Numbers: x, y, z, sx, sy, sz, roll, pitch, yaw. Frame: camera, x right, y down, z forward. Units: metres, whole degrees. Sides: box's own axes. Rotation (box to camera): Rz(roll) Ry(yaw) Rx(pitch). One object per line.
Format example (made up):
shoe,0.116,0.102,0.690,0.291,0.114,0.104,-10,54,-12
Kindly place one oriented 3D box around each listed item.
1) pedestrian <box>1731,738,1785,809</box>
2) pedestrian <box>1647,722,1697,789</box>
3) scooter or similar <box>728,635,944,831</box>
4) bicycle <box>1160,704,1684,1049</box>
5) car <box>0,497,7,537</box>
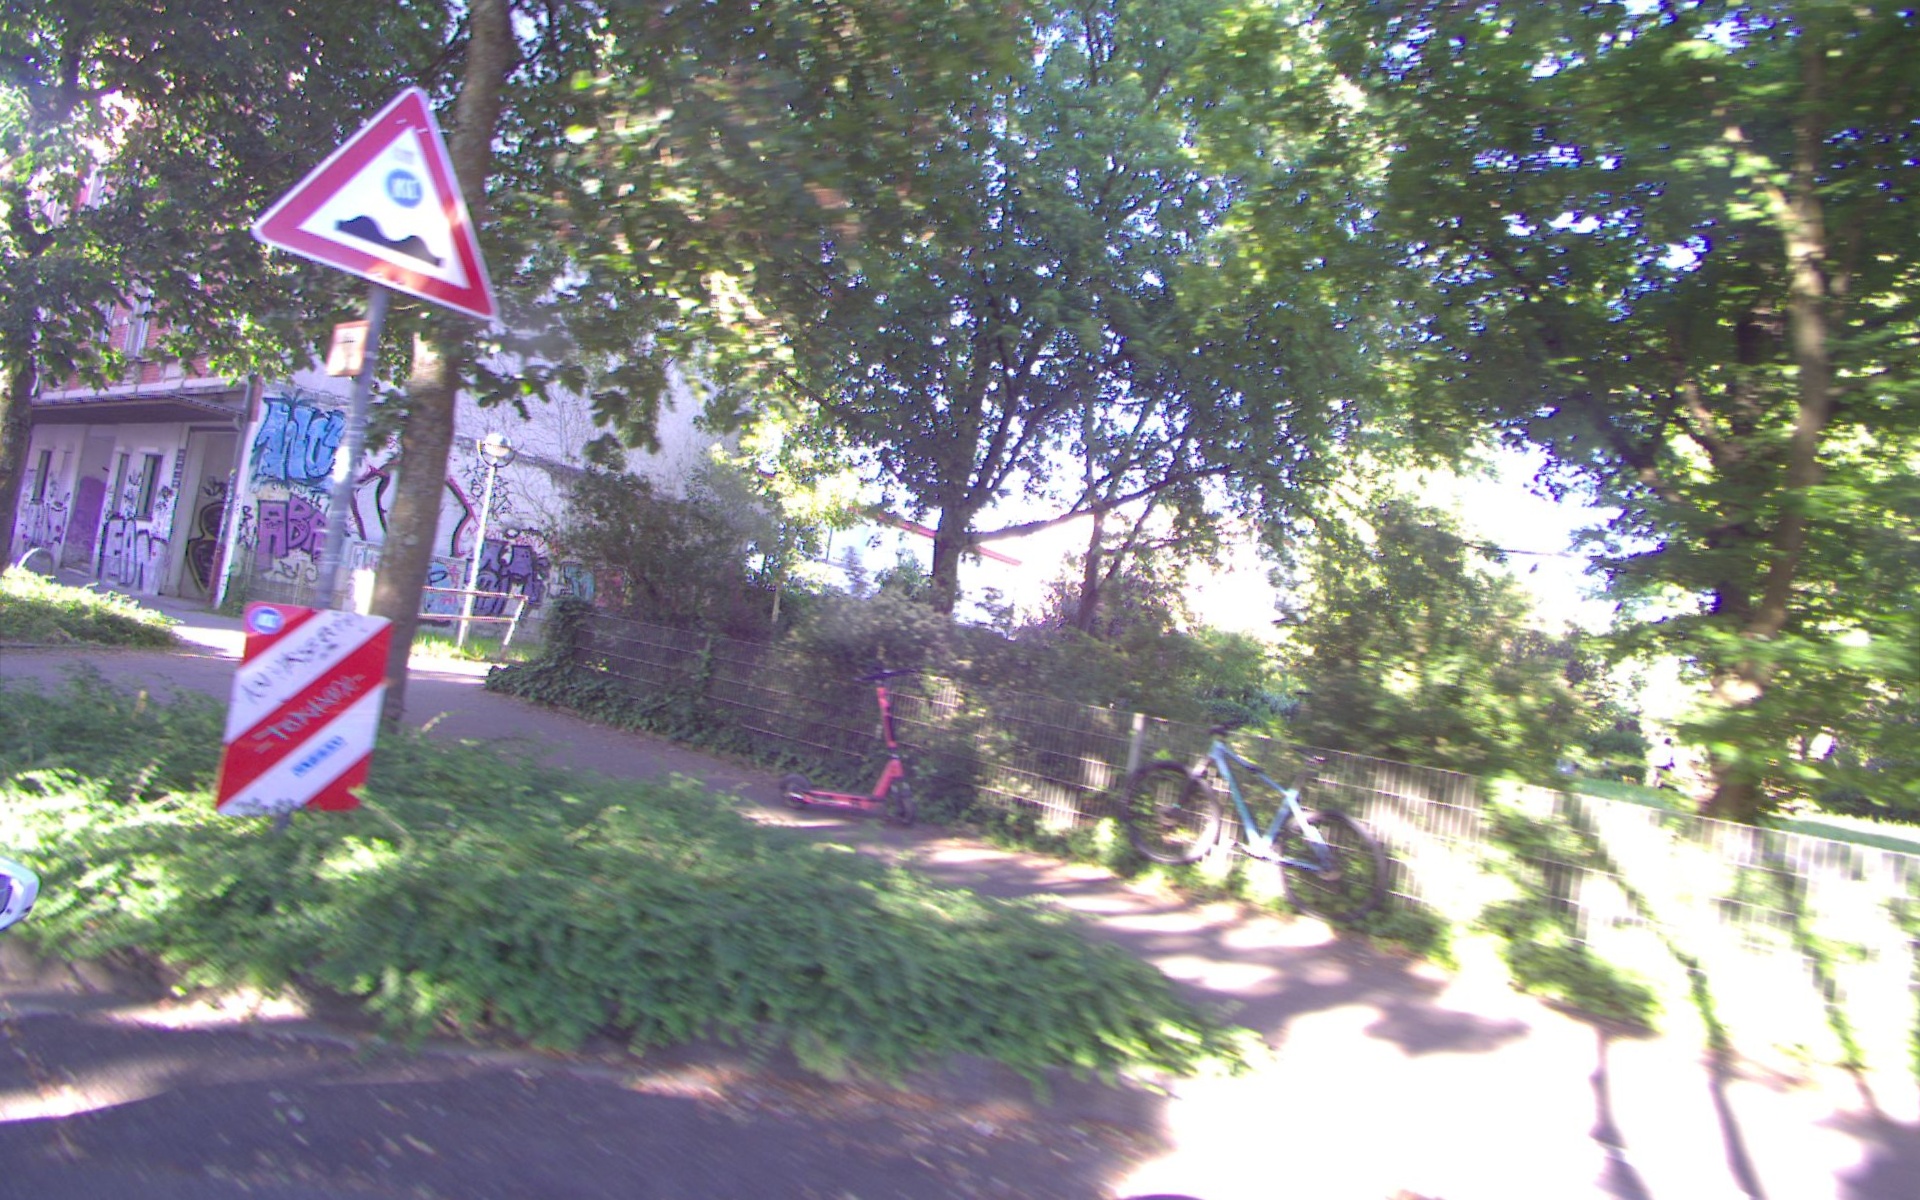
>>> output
pedestrian,25.589,5.554,32.273,0.736,2.037,0.911,8,-1,-7
pedestrian,23.656,5.165,33.441,0.736,2.037,0.911,8,-1,-7
scooter or similar,-0.951,1.016,7.909,1.445,1.276,0.547,8,-1,5
bicycle,2.692,1.504,6.131,2.651,1.282,0.847,7,-2,38
car,-19.851,-1.402,18.982,4.329,1.579,1.724,7,-3,35
